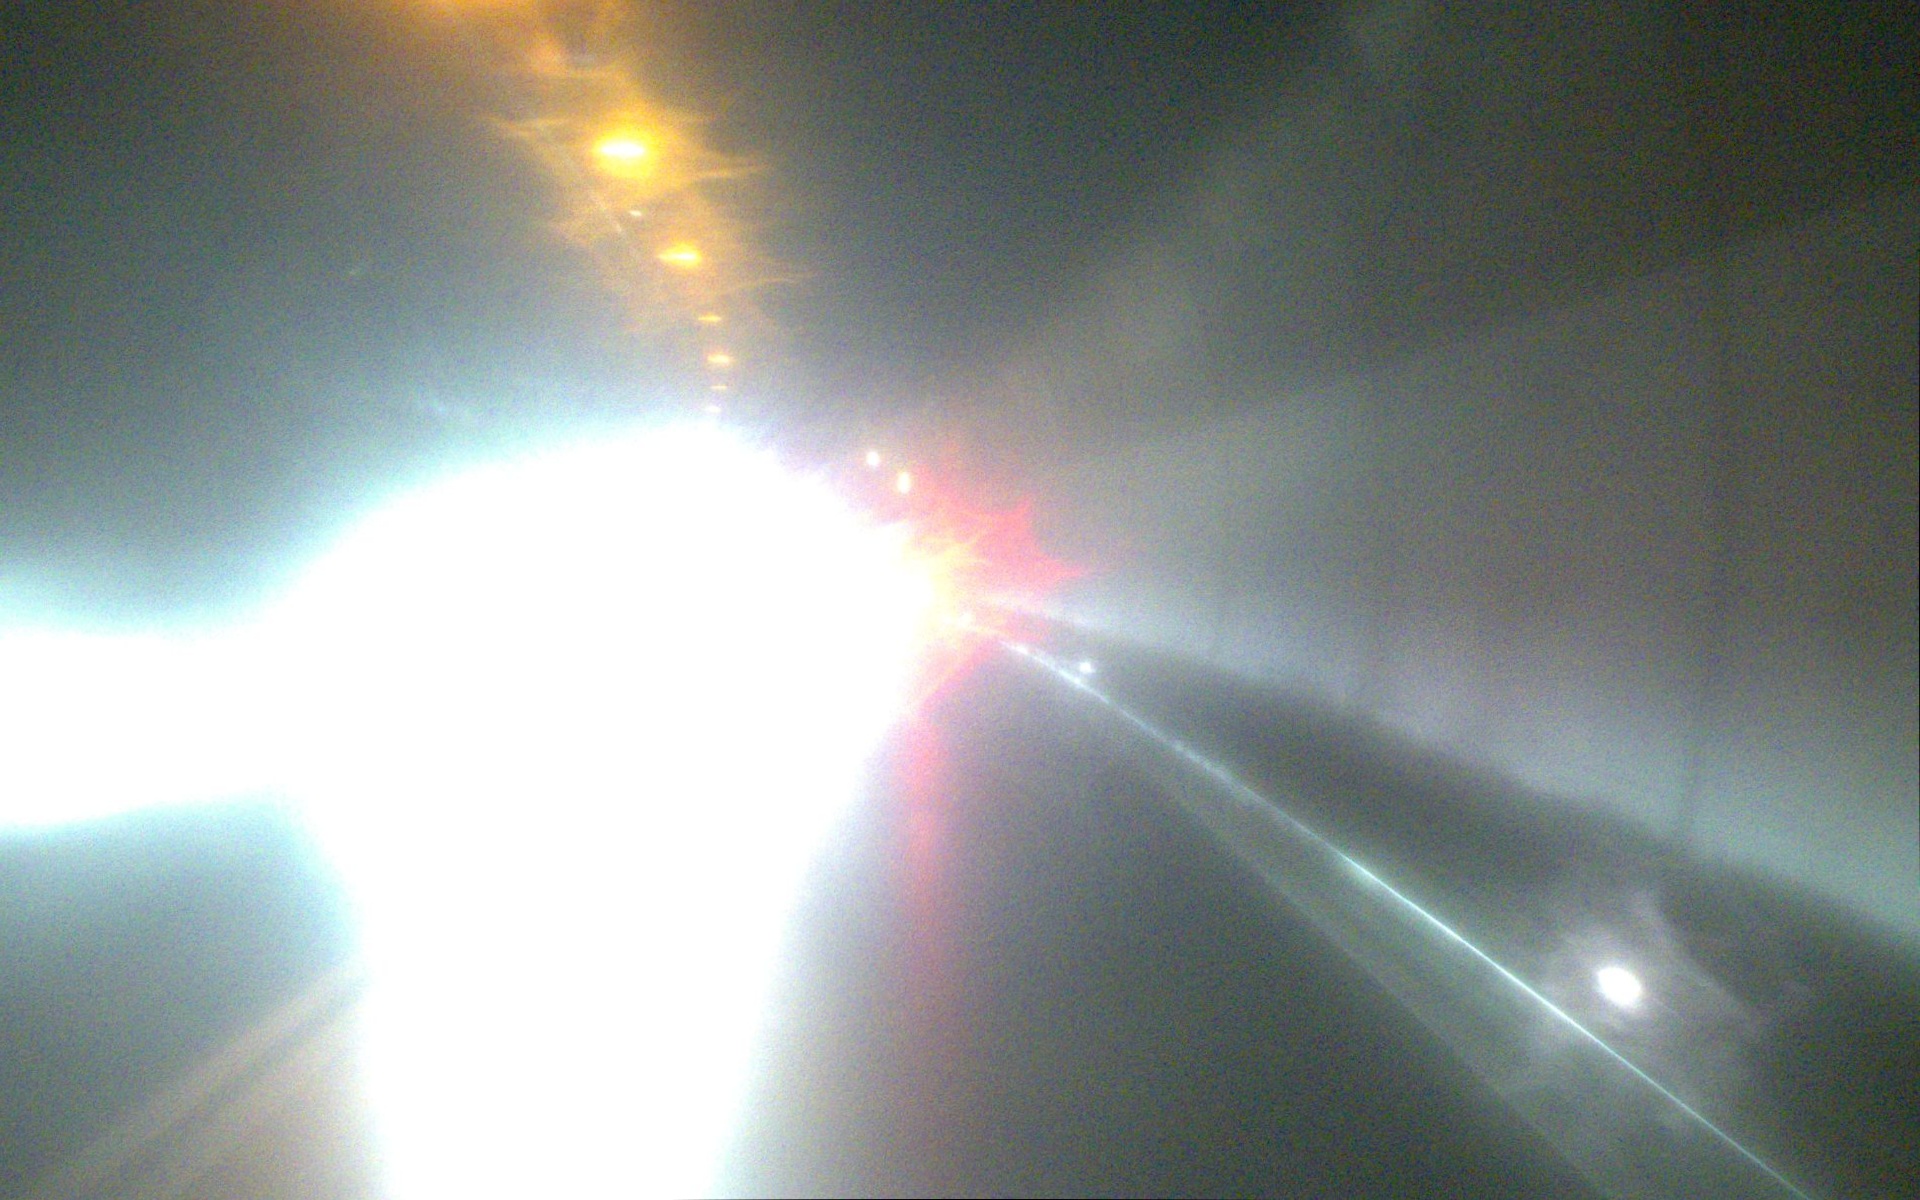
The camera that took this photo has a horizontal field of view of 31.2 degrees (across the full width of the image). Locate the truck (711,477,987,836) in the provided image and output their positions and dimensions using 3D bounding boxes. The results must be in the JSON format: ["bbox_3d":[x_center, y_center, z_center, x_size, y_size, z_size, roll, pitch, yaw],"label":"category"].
[{"bbox_3d":[-0.990,0.433,33.041,2.262,3.000,7.415,2,1,-1],"label":"truck"}]

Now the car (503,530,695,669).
[{"bbox_3d":[-4.027,-0.042,38.911,1.813,1.477,4.201,0,1,-1],"label":"car"}]

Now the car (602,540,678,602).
[{"bbox_3d":[-8.007,-0.742,86.259,1.655,1.488,3.839,2,1,-2],"label":"car"}]
